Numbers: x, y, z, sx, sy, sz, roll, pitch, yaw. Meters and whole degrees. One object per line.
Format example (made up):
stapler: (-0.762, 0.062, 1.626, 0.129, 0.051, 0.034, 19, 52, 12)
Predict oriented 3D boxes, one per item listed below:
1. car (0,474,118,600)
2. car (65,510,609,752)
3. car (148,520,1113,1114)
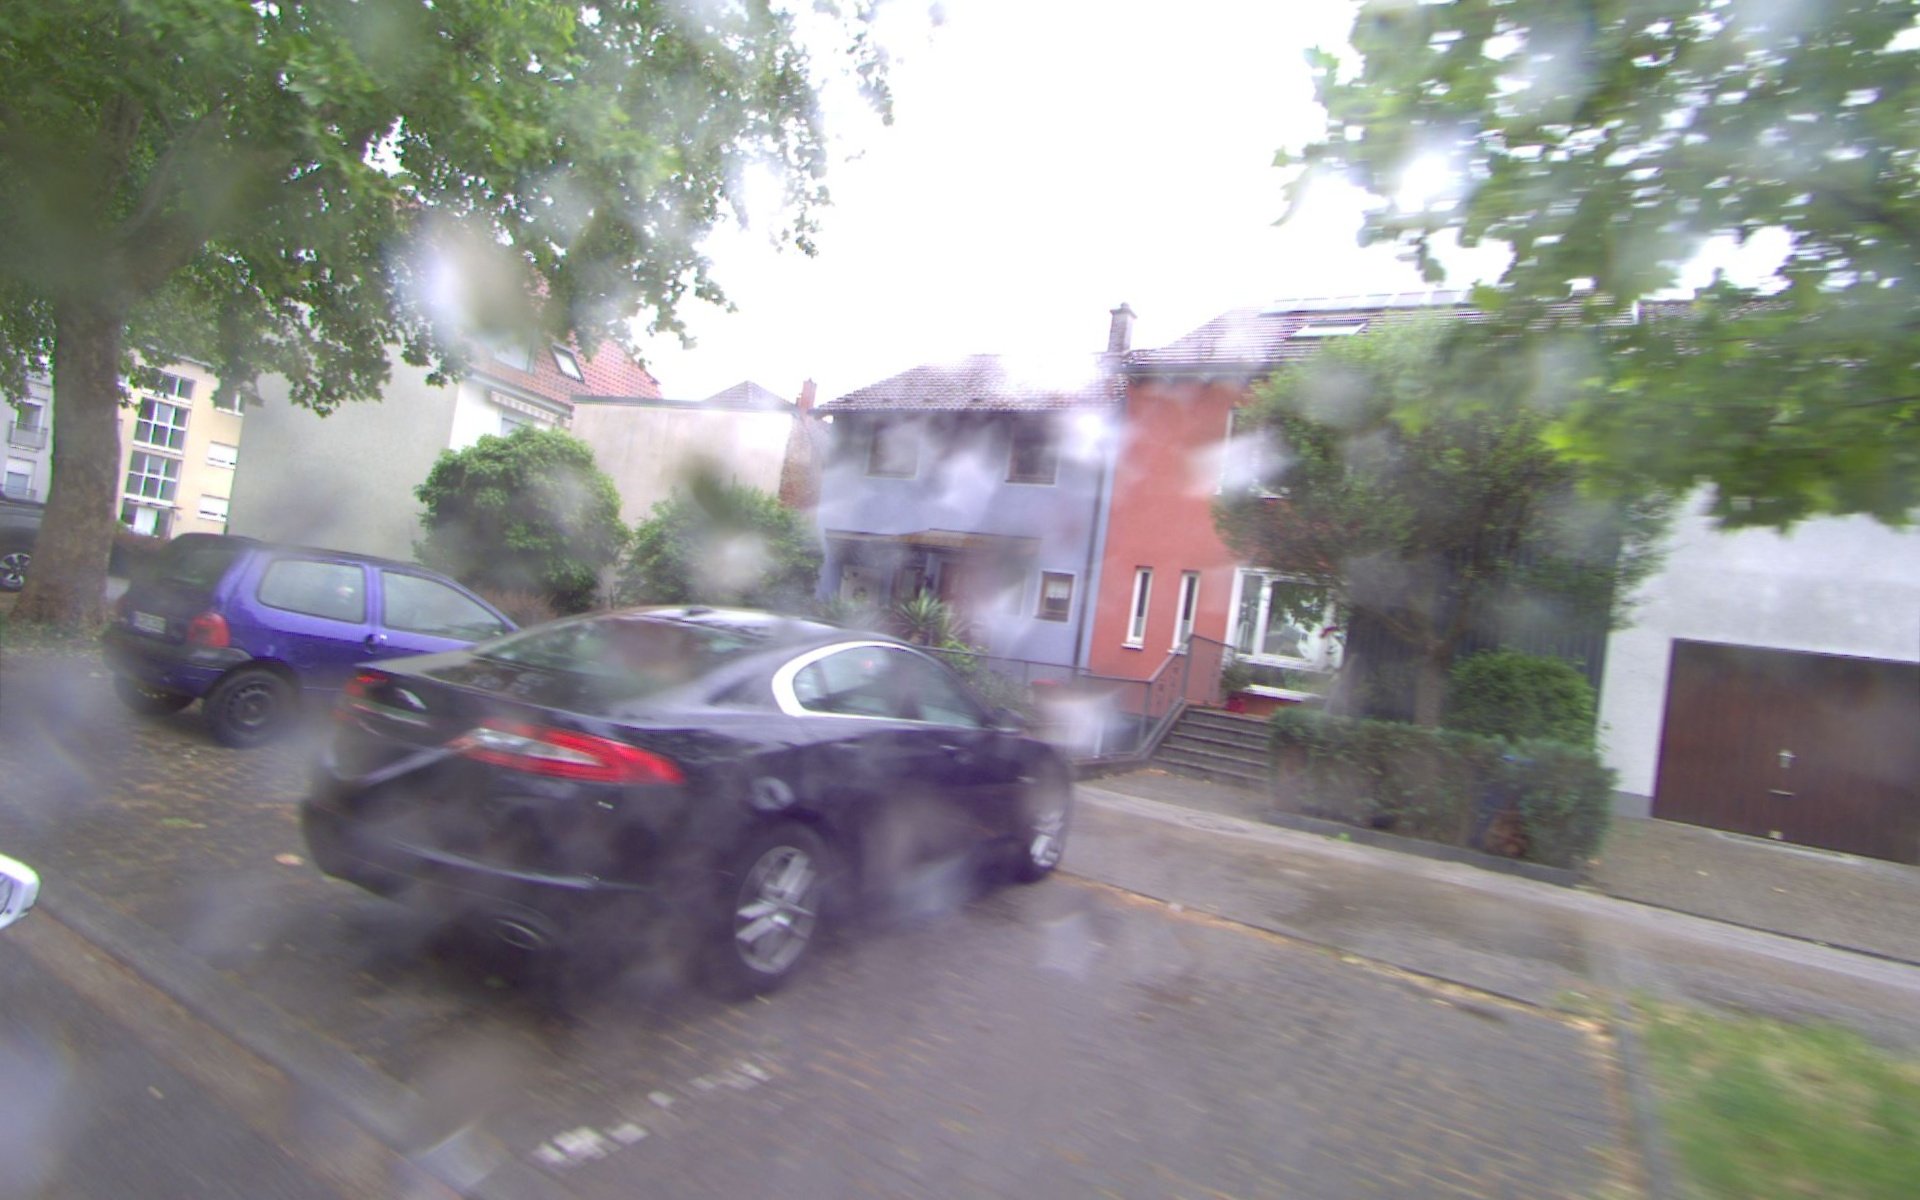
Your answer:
car: (-16.206, -1.233, 14.890, 1.812, 1.827, 5.356, 8, -2, 25)
car: (-4.899, 0.345, 8.371, 1.591, 1.480, 3.364, 7, -2, 30)
car: (-0.932, 0.782, 5.326, 1.903, 1.490, 4.780, 8, -2, 27)
